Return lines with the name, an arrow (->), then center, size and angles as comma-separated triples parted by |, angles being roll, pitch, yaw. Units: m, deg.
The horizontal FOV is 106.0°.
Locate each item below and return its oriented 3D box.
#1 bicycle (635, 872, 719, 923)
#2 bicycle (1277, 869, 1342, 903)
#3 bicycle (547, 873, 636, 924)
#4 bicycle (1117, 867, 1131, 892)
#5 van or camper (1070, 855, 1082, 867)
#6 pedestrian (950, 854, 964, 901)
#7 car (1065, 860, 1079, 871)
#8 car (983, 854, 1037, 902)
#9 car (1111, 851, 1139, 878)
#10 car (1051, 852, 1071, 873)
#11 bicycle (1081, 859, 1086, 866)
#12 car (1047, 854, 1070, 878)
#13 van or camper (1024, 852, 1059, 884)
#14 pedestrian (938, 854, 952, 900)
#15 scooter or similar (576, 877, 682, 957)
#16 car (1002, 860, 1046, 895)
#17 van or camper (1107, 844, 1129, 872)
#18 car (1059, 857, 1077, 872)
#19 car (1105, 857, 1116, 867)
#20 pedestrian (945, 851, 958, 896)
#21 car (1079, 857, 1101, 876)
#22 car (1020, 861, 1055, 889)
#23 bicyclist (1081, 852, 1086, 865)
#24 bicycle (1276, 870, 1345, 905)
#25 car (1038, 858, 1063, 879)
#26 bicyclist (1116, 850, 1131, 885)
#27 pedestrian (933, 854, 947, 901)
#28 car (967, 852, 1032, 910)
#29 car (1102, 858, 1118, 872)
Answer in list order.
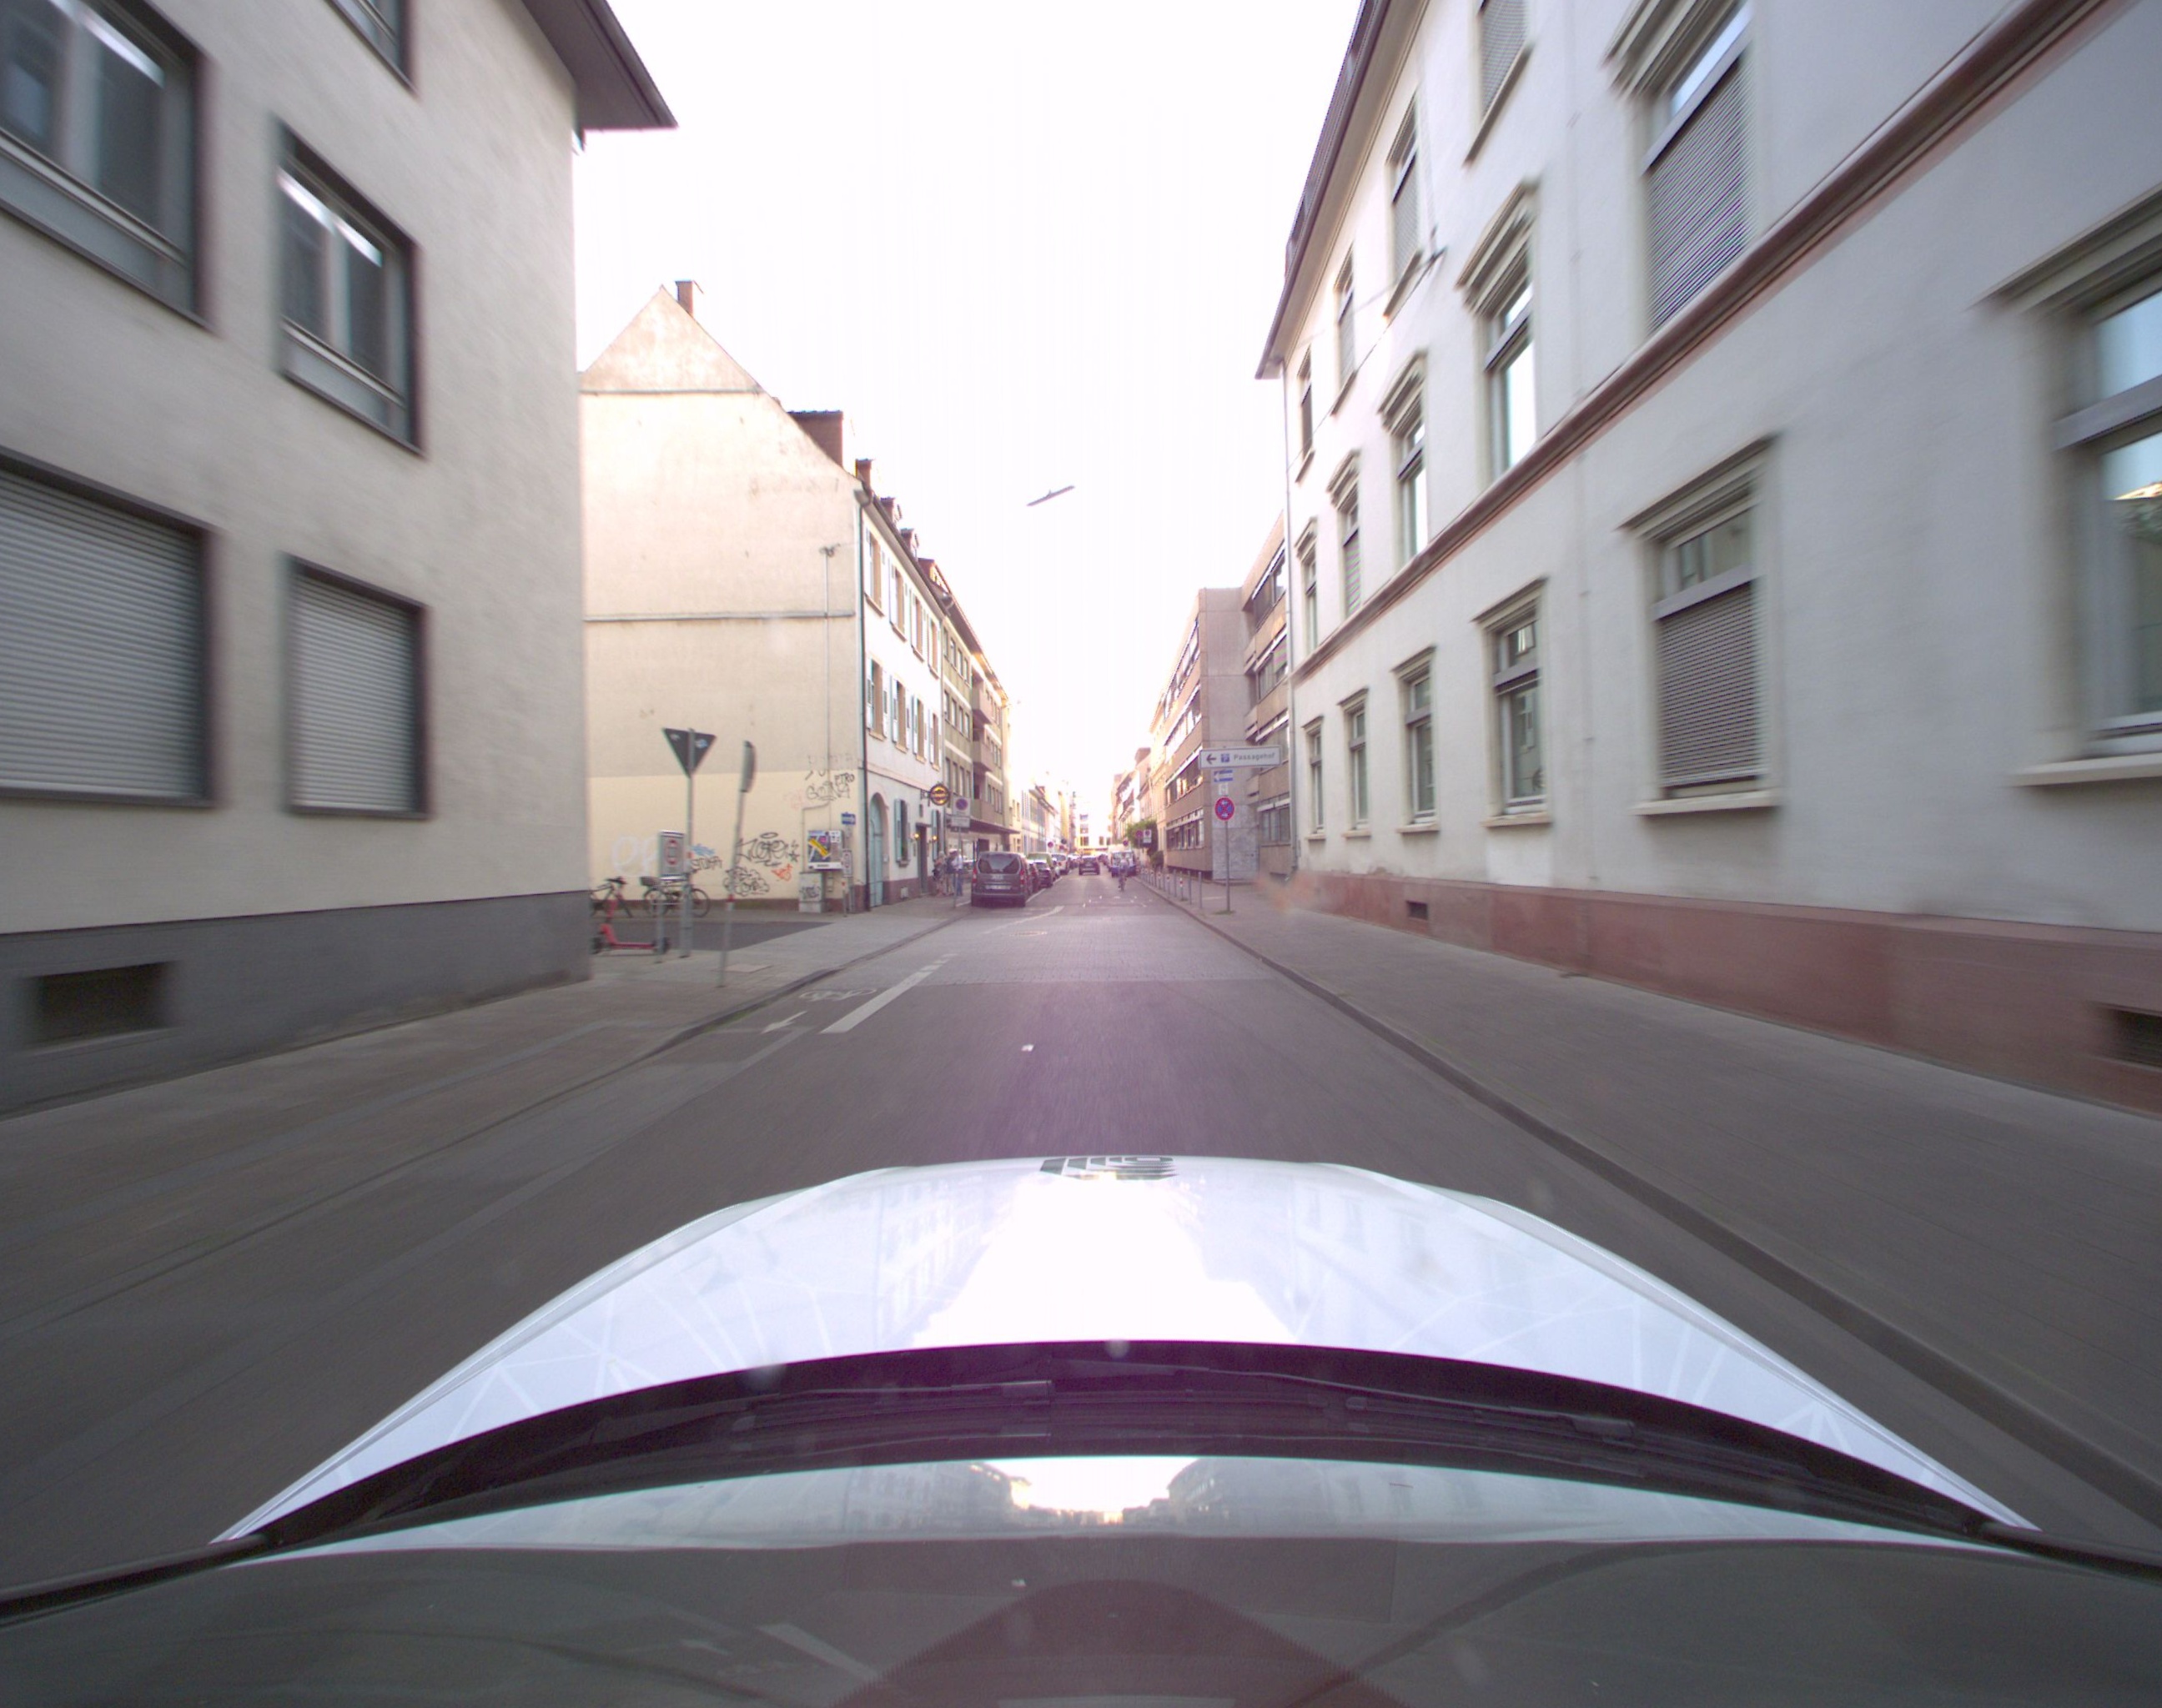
bicycle -> -9.993, 1.073, 20.146 | 1.912, 1.217, 0.630 | -1, -1, 15
bicycle -> 6.580, 0.919, 23.469 | 1.737, 0.923, 0.537 | -1, -1, -6
bicycle -> -12.091, 1.103, 20.122 | 1.915, 1.217, 0.629 | -1, -1, 9
bicycle -> 1.959, 1.149, 37.472 | 0.611, 1.082, 1.810 | -1, -1, 2
van or camper -> -0.773, 1.183, 137.099 | 1.837, 2.013, 4.679 | 0, 0, 1
pedestrian -> -4.677, 0.870, 30.750 | 0.447, 1.750, 0.470 | -1, -1, 2
car -> -1.209, 1.622, 114.895 | 1.912, 1.434, 4.292 | 0, 0, -1
car -> -2.793, 0.911, 32.984 | 1.767, 1.811, 4.509 | -1, 0, 0
car -> 3.266, 0.770, 61.576 | 1.929, 1.898, 5.278 | -2, 0, 2
car -> -1.941, 0.818, 79.691 | 1.856, 2.013, 4.813 | -1, 0, 0
bicycle -> 0.305, 1.070, 102.406 | 0.631, 0.922, 1.780 | -1, -1, 1
car -> -1.949, 1.015, 72.893 | 1.856, 2.013, 5.105 | -1, 0, 0
van or camper -> -2.423, 0.862, 50.790 | 1.765, 1.848, 4.180 | -2, 0, 2
pedestrian -> -5.177, 0.879, 30.996 | 0.404, 1.750, 0.470 | -1, -1, 2
scooter or similar -> -7.111, 0.986, 12.878 | 1.367, 1.201, 0.529 | 2, -2, -23
car -> -2.587, 1.054, 37.765 | 1.618, 1.485, 3.878 | -2, -1, 1
van or camper -> 3.657, 0.425, 81.533 | 2.042, 2.637, 7.066 | -2, 0, 2
car -> -1.551, 1.272, 97.154 | 1.795, 1.677, 4.492 | -1, 0, 2
car -> 4.738, 1.286, 131.736 | 1.647, 1.561, 3.606 | 0, 0, 1
pedestrian -> -5.026, 0.746, 31.554 | 0.404, 1.750, 0.470 | -1, -1, 2
car -> 0.791, 1.068, 69.546 | 1.813, 1.618, 4.000 | 0, 0, 1
car -> -2.257, 1.078, 42.733 | 1.619, 1.416, 3.979 | 0, -1, 0
bicyclist -> 0.313, 0.530, 102.378 | 0.621, 1.639, 1.082 | -1, -1, 1
bicycle -> 6.382, 0.914, 22.655 | 1.793, 0.923, 0.537 | -1, -1, -7
car -> -2.216, 1.022, 60.040 | 1.656, 1.449, 3.521 | 2, -1, 1
bicyclist -> 1.957, 0.624, 37.557 | 0.618, 1.574, 0.684 | -1, -1, 2
pedestrian -> -5.266, 0.876, 30.510 | 0.404, 1.750, 0.470 | -1, -1, 2
car -> -2.699, 0.862, 27.851 | 1.872, 1.811, 4.447 | -1, 0, -2
car -> 3.682, 1.384, 101.370 | 1.812, 1.530, 5.074 | -5, -1, 2
